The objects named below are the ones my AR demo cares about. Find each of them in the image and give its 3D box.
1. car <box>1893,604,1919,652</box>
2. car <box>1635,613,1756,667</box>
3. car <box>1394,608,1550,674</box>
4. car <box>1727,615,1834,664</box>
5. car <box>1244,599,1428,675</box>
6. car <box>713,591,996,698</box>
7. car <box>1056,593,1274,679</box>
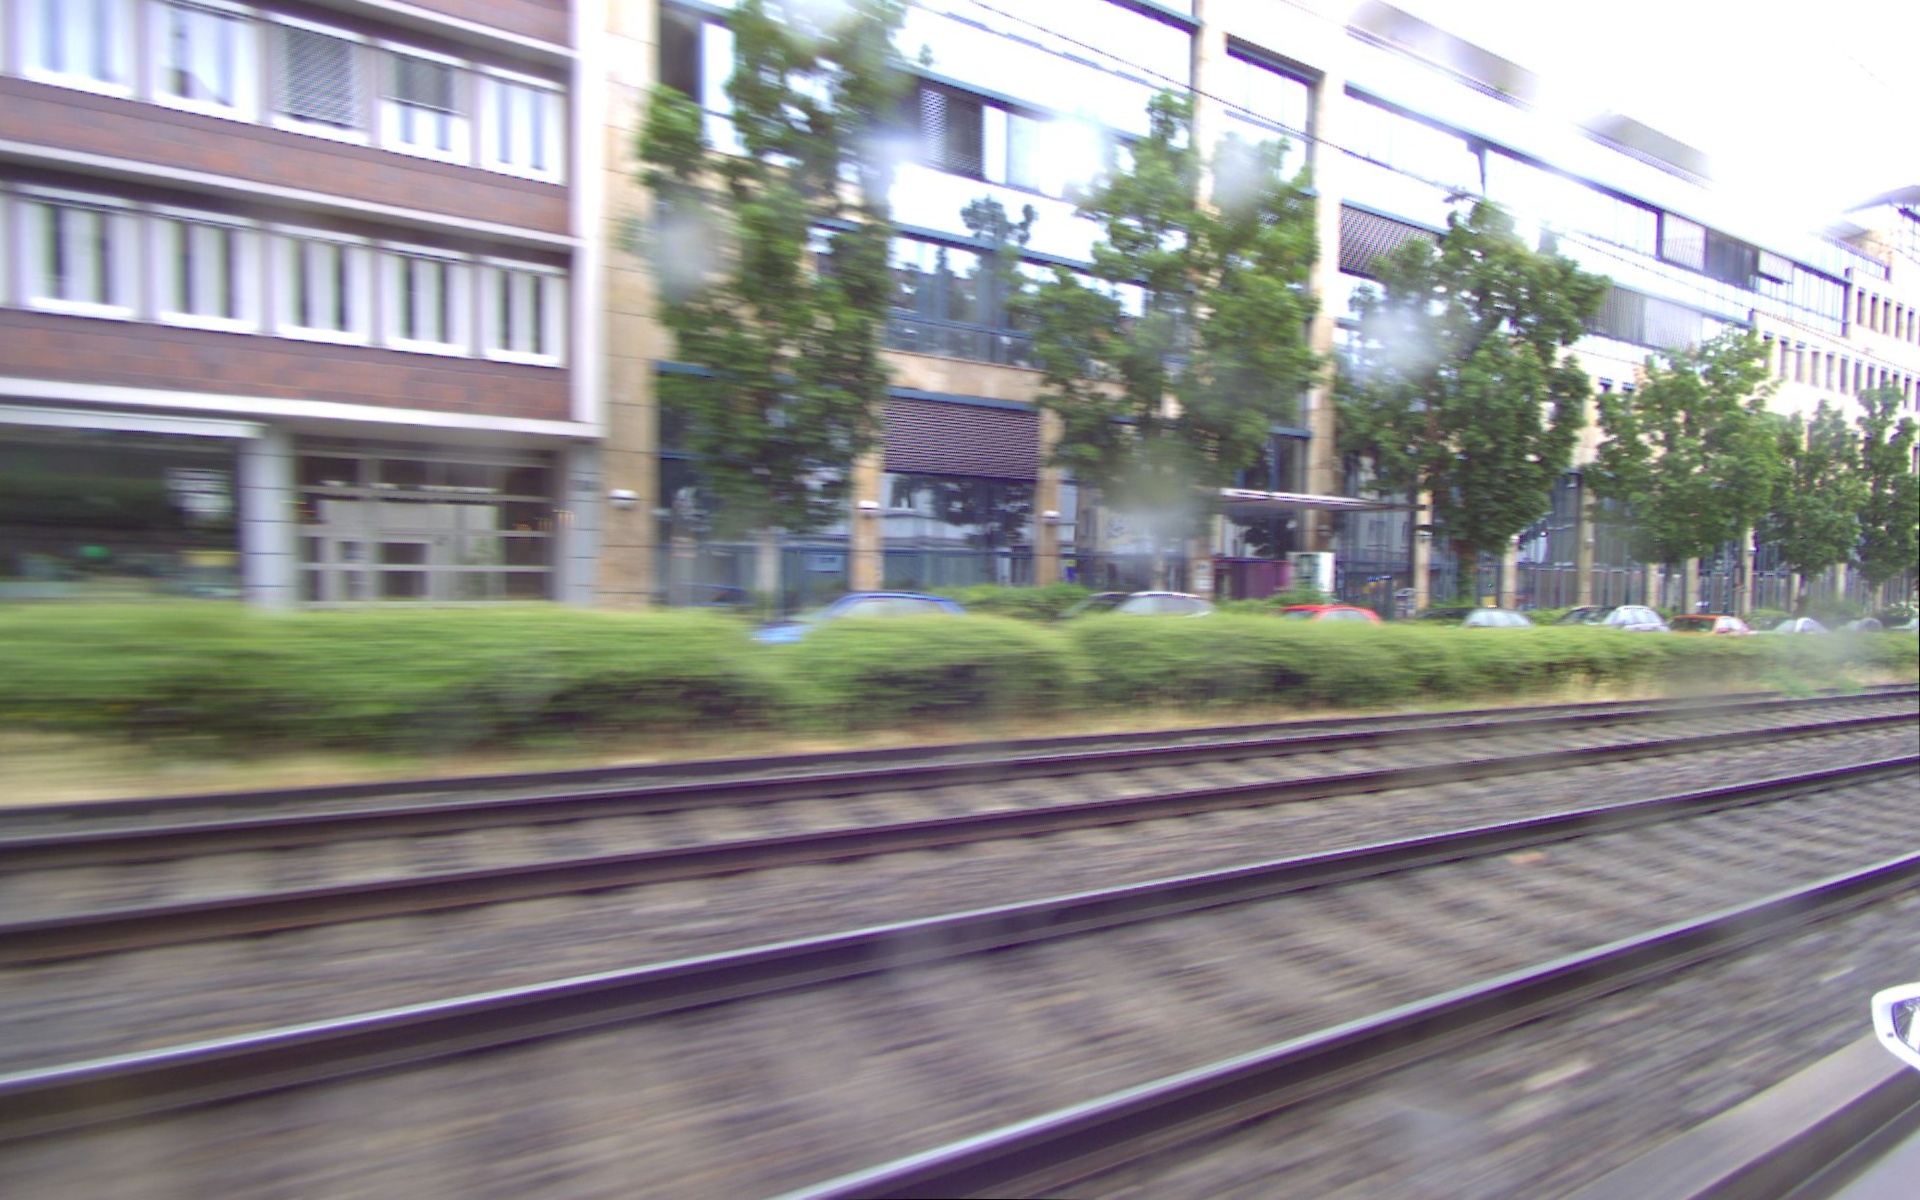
[{"bbox_3d":[40.088,1.185,41.017,4.526,1.889,1.895,2,0,-34],"label":"car"},{"bbox_3d":[21.684,1.151,29.559,4.134,1.455,1.558,1,0,-34],"label":"car"},{"bbox_3d":[12.447,0.962,24.349,4.134,1.455,1.558,1,0,-34],"label":"car"},{"bbox_3d":[26.453,1.251,32.348,4.134,1.455,1.558,1,0,-34],"label":"car"},{"bbox_3d":[8.043,0.755,21.366,4.134,1.455,1.558,1,0,-34],"label":"car"},{"bbox_3d":[-1.568,0.631,15.587,4.134,1.455,1.558,1,0,-34],"label":"car"},{"bbox_3d":[3.901,0.640,18.873,4.134,1.455,1.558,1,0,-34],"label":"car"}]
